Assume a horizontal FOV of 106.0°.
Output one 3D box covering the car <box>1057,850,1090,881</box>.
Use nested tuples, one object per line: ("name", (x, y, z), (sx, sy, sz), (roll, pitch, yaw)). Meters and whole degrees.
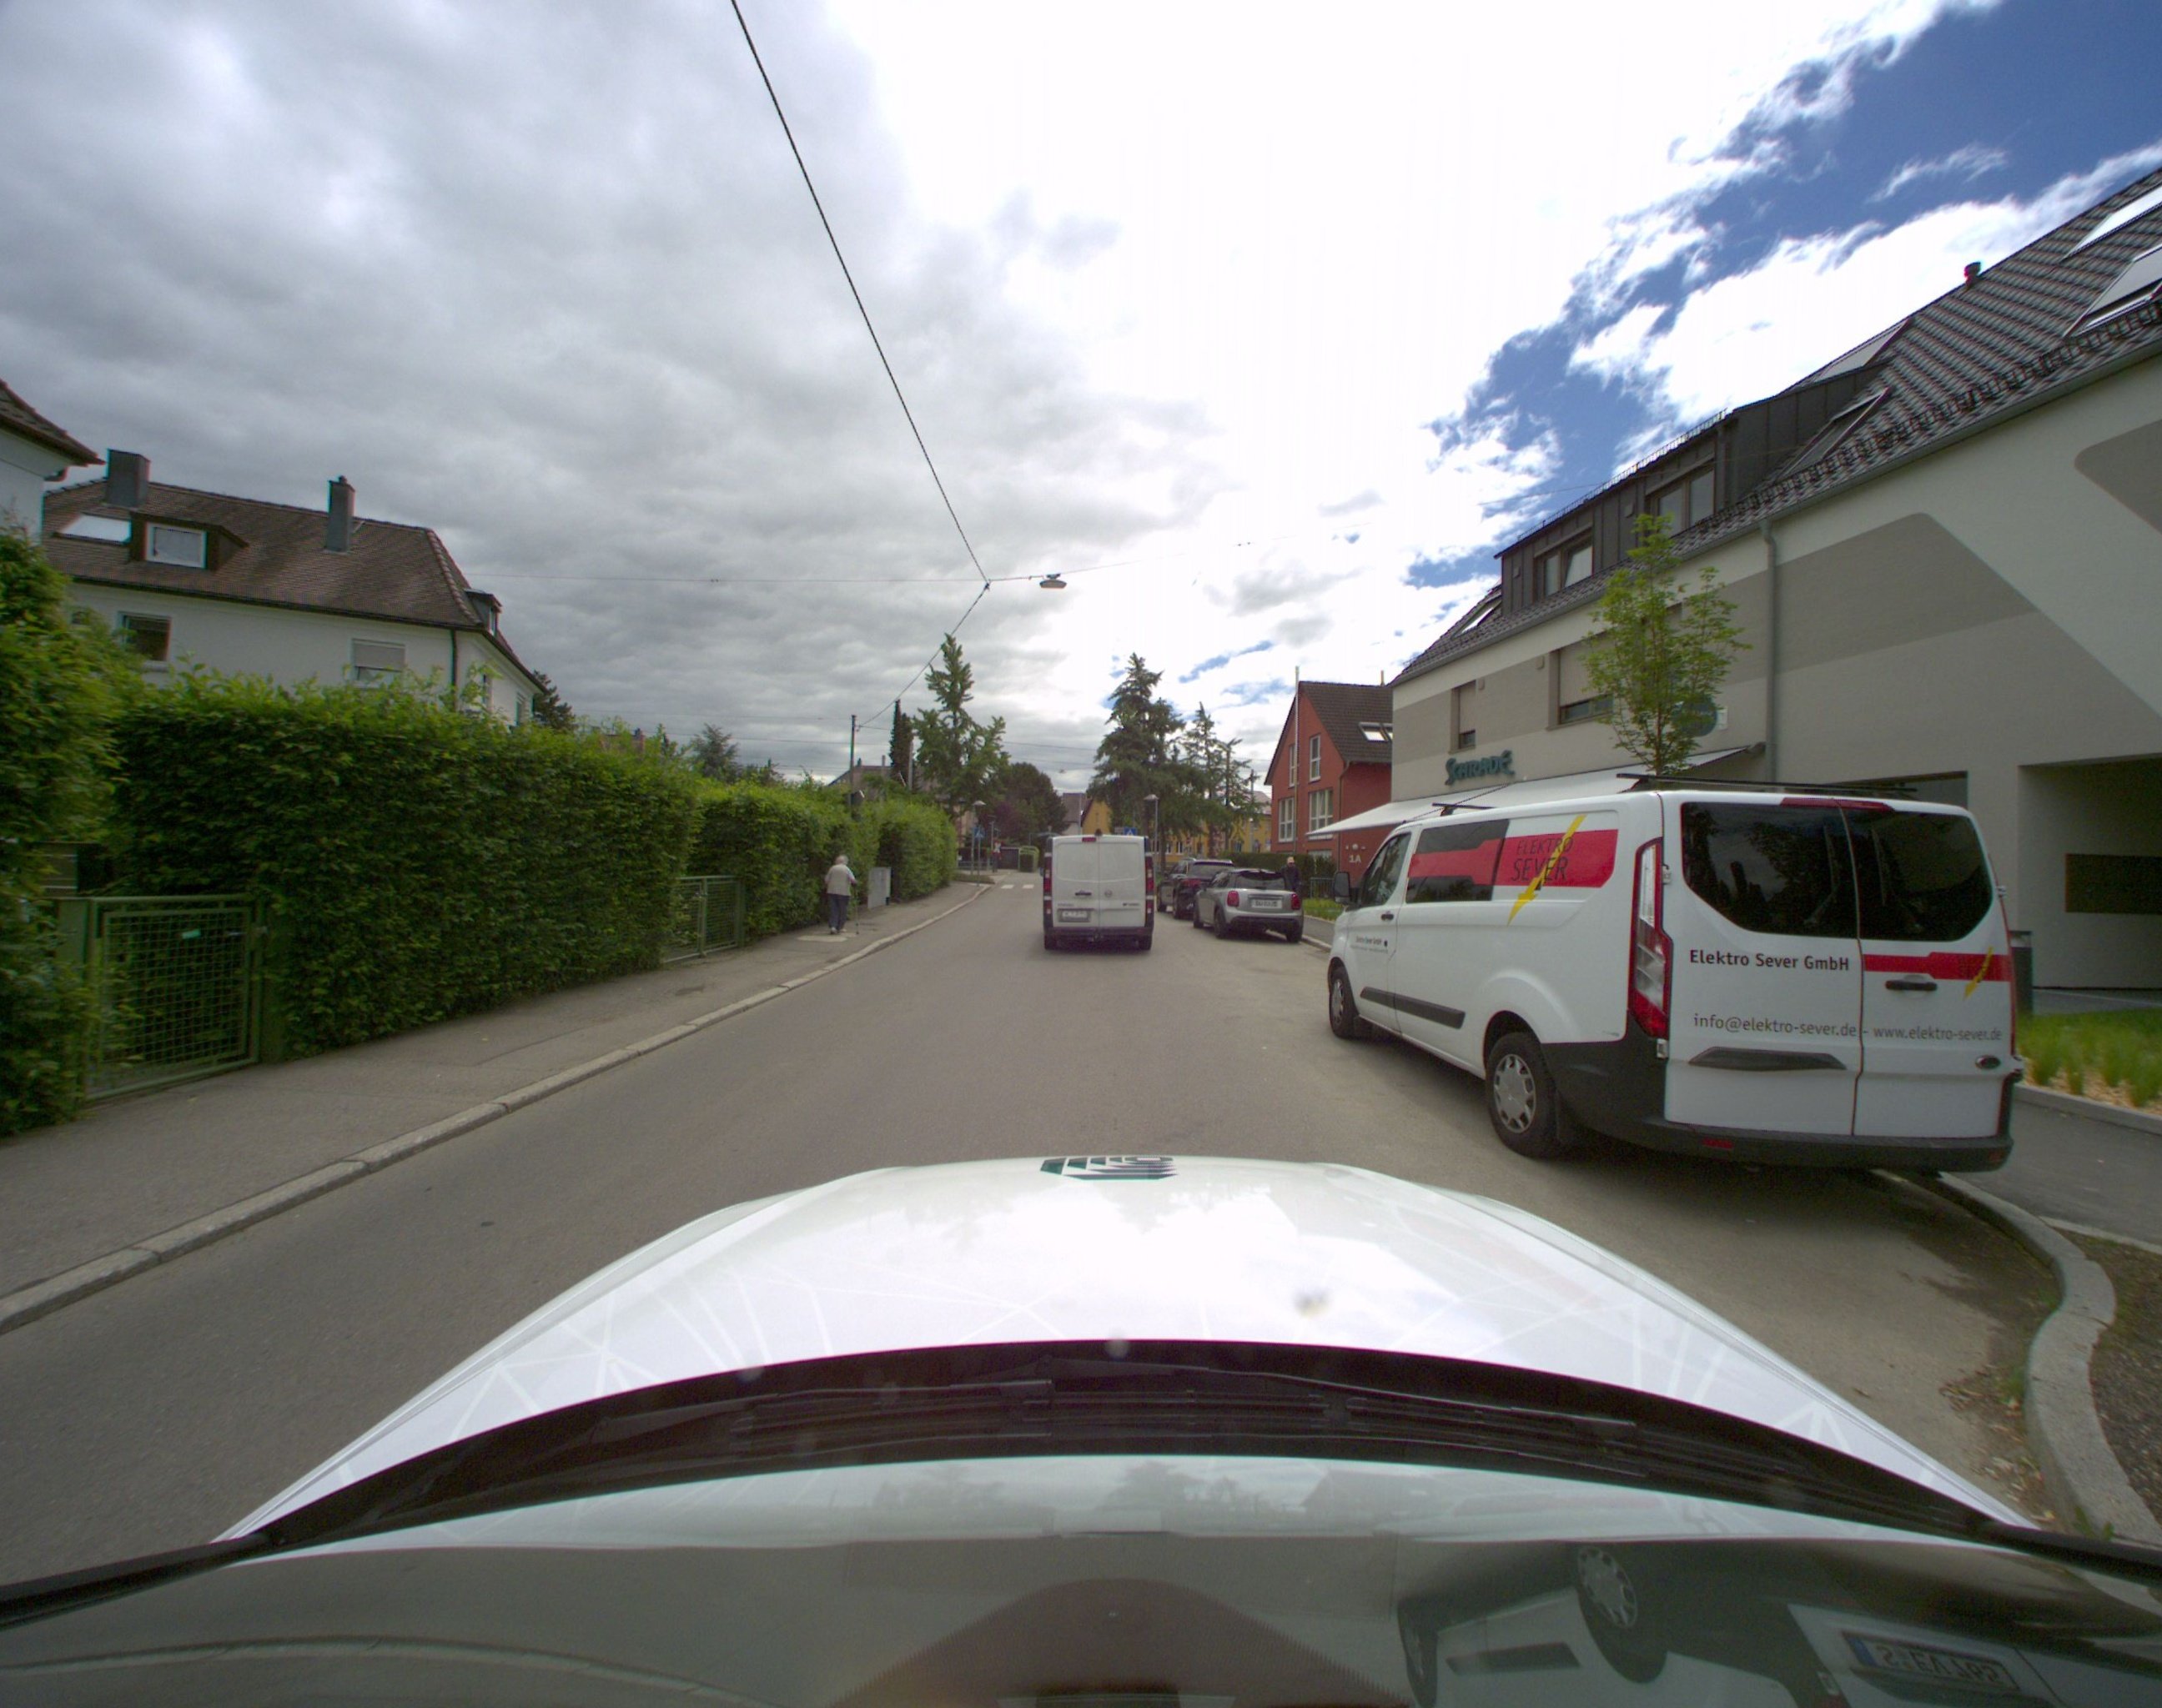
("car", (-0.434, 0.749, 50.531), (1.987, 1.848, 3.999), (0, -1, 0))

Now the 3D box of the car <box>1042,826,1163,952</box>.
("car", (0.298, 0.580, 15.234), (1.910, 2.003, 4.435), (1, 0, -1))

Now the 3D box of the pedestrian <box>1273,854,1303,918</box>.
("pedestrian", (5.382, 0.834, 21.202), (0.588, 1.607, 0.529), (3, -2, 1))

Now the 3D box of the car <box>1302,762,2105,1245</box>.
("car", (3.297, 0.679, 5.857), (1.952, 1.916, 4.899), (3, -1, -1))

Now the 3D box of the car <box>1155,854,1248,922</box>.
("car", (3.221, 0.877, 22.579), (1.698, 1.614, 4.254), (3, -1, -3))

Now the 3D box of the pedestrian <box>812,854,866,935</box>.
("pedestrian", (-4.635, 0.764, 15.583), (0.879, 1.485, 0.452), (4, -2, -20))

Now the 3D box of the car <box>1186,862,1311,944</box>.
("car", (3.497, 0.980, 17.638), (1.738, 1.495, 3.651), (3, -1, -3))
